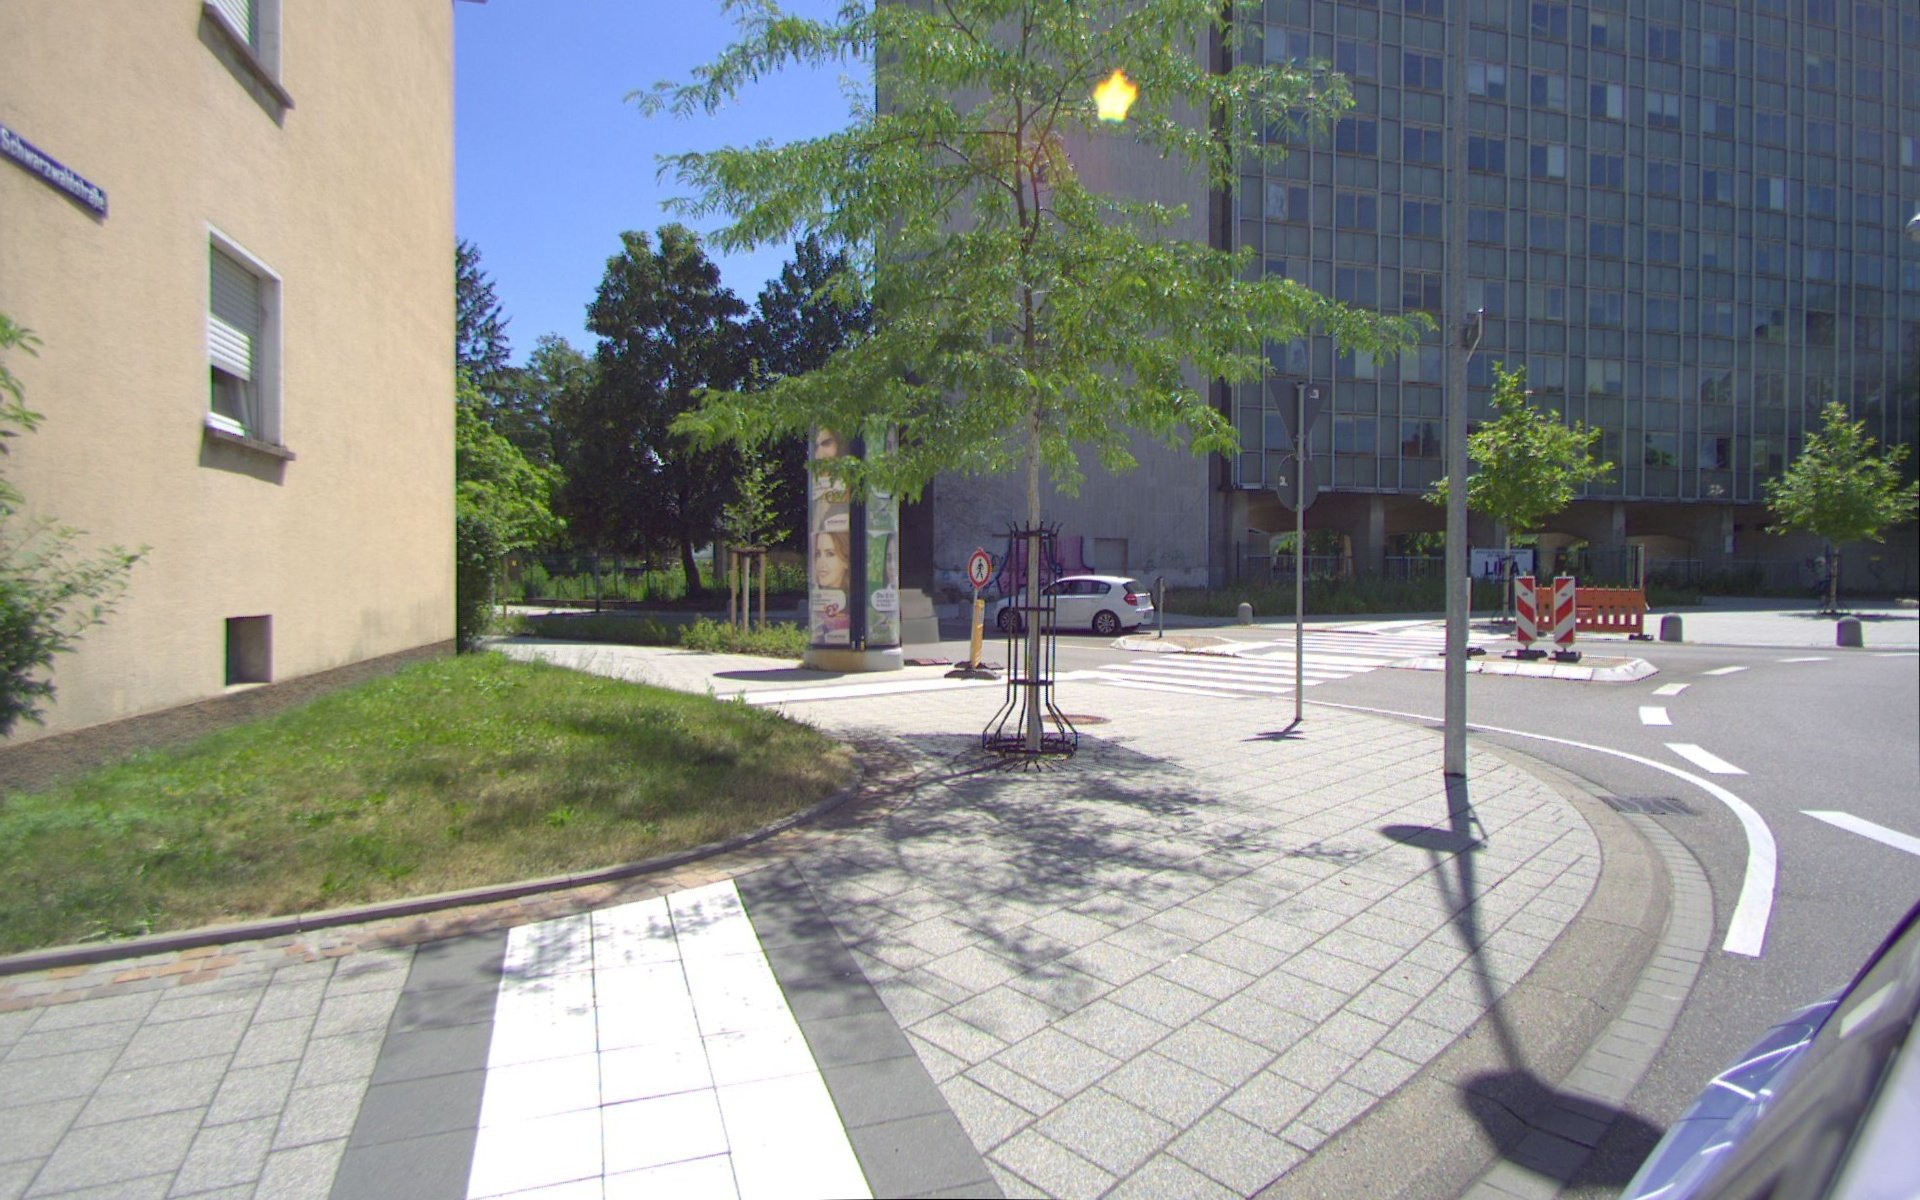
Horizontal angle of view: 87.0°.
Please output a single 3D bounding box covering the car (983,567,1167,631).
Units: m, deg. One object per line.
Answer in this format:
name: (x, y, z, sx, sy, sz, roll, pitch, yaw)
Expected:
car: (2.857, -0.067, 25.319, 4.217, 1.476, 1.892, 1, 2, 28)
